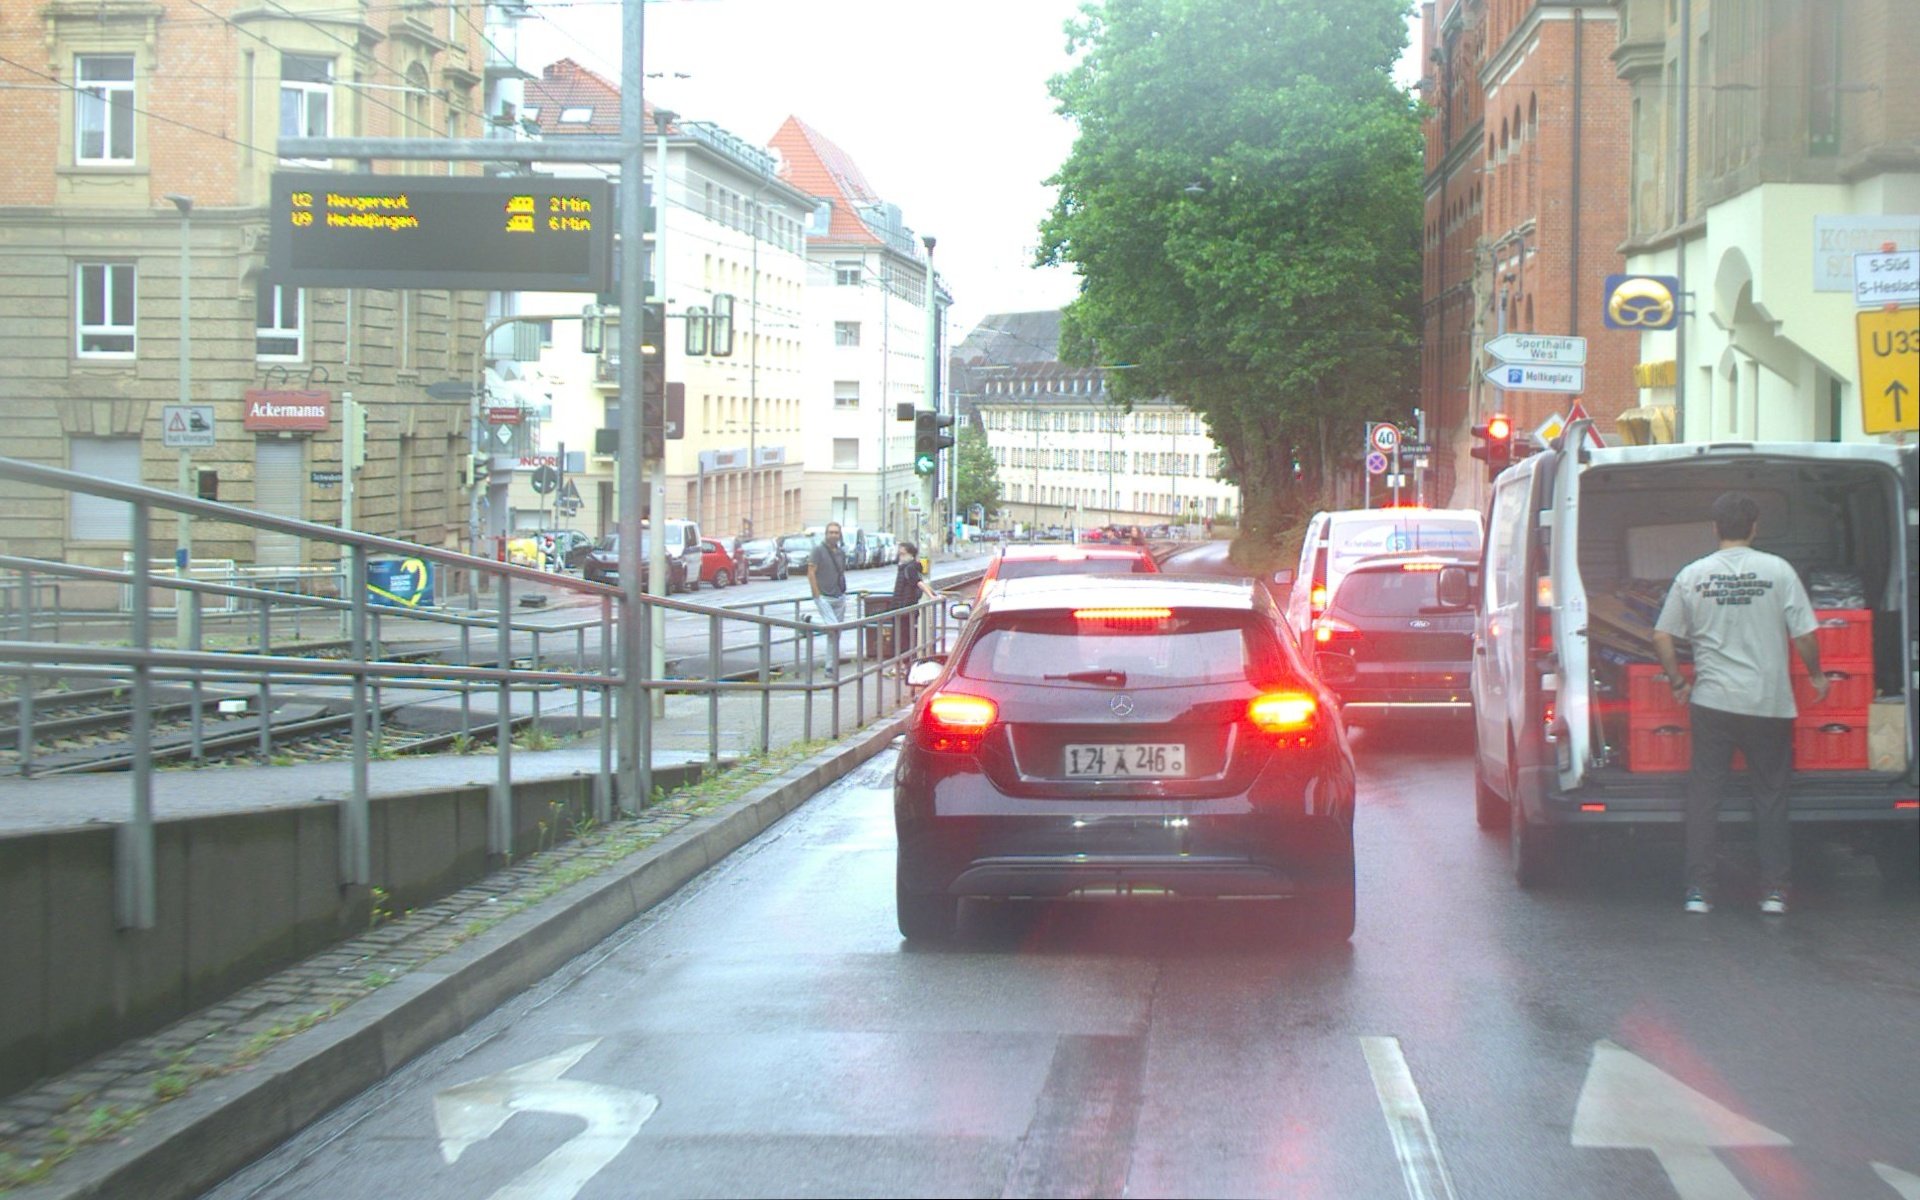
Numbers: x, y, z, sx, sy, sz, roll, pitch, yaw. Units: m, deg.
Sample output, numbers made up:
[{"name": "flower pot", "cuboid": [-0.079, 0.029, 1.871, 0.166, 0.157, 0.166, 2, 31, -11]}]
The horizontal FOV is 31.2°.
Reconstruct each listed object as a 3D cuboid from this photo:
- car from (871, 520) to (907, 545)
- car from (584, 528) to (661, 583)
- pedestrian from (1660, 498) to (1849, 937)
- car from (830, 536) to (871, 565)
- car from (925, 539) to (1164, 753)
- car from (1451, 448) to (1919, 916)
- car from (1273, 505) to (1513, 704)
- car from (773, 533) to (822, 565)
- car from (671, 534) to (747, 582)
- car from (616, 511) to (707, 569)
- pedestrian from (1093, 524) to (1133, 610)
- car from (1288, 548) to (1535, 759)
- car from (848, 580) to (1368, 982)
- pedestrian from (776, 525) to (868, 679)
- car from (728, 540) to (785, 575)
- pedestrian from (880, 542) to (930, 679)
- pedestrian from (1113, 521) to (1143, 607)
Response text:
[{"name": "car", "cuboid": [-3.439, -3.285, 166.639, 1.395, 1.167, 3.161, 1, 1, 5]}, {"name": "car", "cuboid": [-8.663, -1.158, 88.352, 1.452, 1.314, 3.295, 2, 2, 3]}, {"name": "pedestrian", "cuboid": [3.257, 0.462, 14.142, 0.685, 1.748, 0.836, -1, 1, 9]}, {"name": "car", "cuboid": [-4.602, -2.095, 144.940, 1.395, 1.167, 3.161, 1, 1, 5]}, {"name": "car", "cuboid": [0.671, 0.293, 26.099, 1.680, 1.484, 3.613, 0, 1, 2]}, {"name": "car", "cuboid": [3.472, 0.292, 16.633, 1.921, 1.929, 4.685, 1, 1, 5]}, {"name": "car", "cuboid": [4.213, -0.015, 34.040, 1.933, 1.825, 4.281, 1, 2, 2]}, {"name": "car", "cuboid": [-6.002, -1.889, 127.168, 1.395, 1.167, 3.161, 1, 1, 5]}, {"name": "car", "cuboid": [-7.409, -1.255, 101.794, 1.680, 1.351, 3.702, 1, 1, 5]}, {"name": "car", "cuboid": [-8.194, -1.661, 94.763, 1.786, 1.525, 4.462, 1, 1, 5]}, {"name": "pedestrian", "cuboid": [2.958, -0.641, 66.476, 0.679, 1.655, 0.676, 0, 1, 11]}, {"name": "car", "cuboid": [3.591, 0.347, 26.836, 1.714, 1.464, 4.279, 1, 1, 10]}, {"name": "car", "cuboid": [0.712, 0.645, 14.568, 1.895, 1.385, 3.999, 0, 1, 5]}, {"name": "pedestrian", "cuboid": [-1.563, 0.012, 38.901, 0.739, 1.718, 0.741, 0, 1, -39]}, {"name": "car", "cuboid": [-6.729, -1.410, 113.948, 1.437, 1.103, 3.161, 1, 1, 5]}, {"name": "pedestrian", "cuboid": [-0.621, 0.112, 38.782, 0.531, 1.525, 0.436, 0, 1, -3]}, {"name": "pedestrian", "cuboid": [3.316, -0.712, 67.820, 0.518, 1.660, 0.476, 2, 2, 7]}]
